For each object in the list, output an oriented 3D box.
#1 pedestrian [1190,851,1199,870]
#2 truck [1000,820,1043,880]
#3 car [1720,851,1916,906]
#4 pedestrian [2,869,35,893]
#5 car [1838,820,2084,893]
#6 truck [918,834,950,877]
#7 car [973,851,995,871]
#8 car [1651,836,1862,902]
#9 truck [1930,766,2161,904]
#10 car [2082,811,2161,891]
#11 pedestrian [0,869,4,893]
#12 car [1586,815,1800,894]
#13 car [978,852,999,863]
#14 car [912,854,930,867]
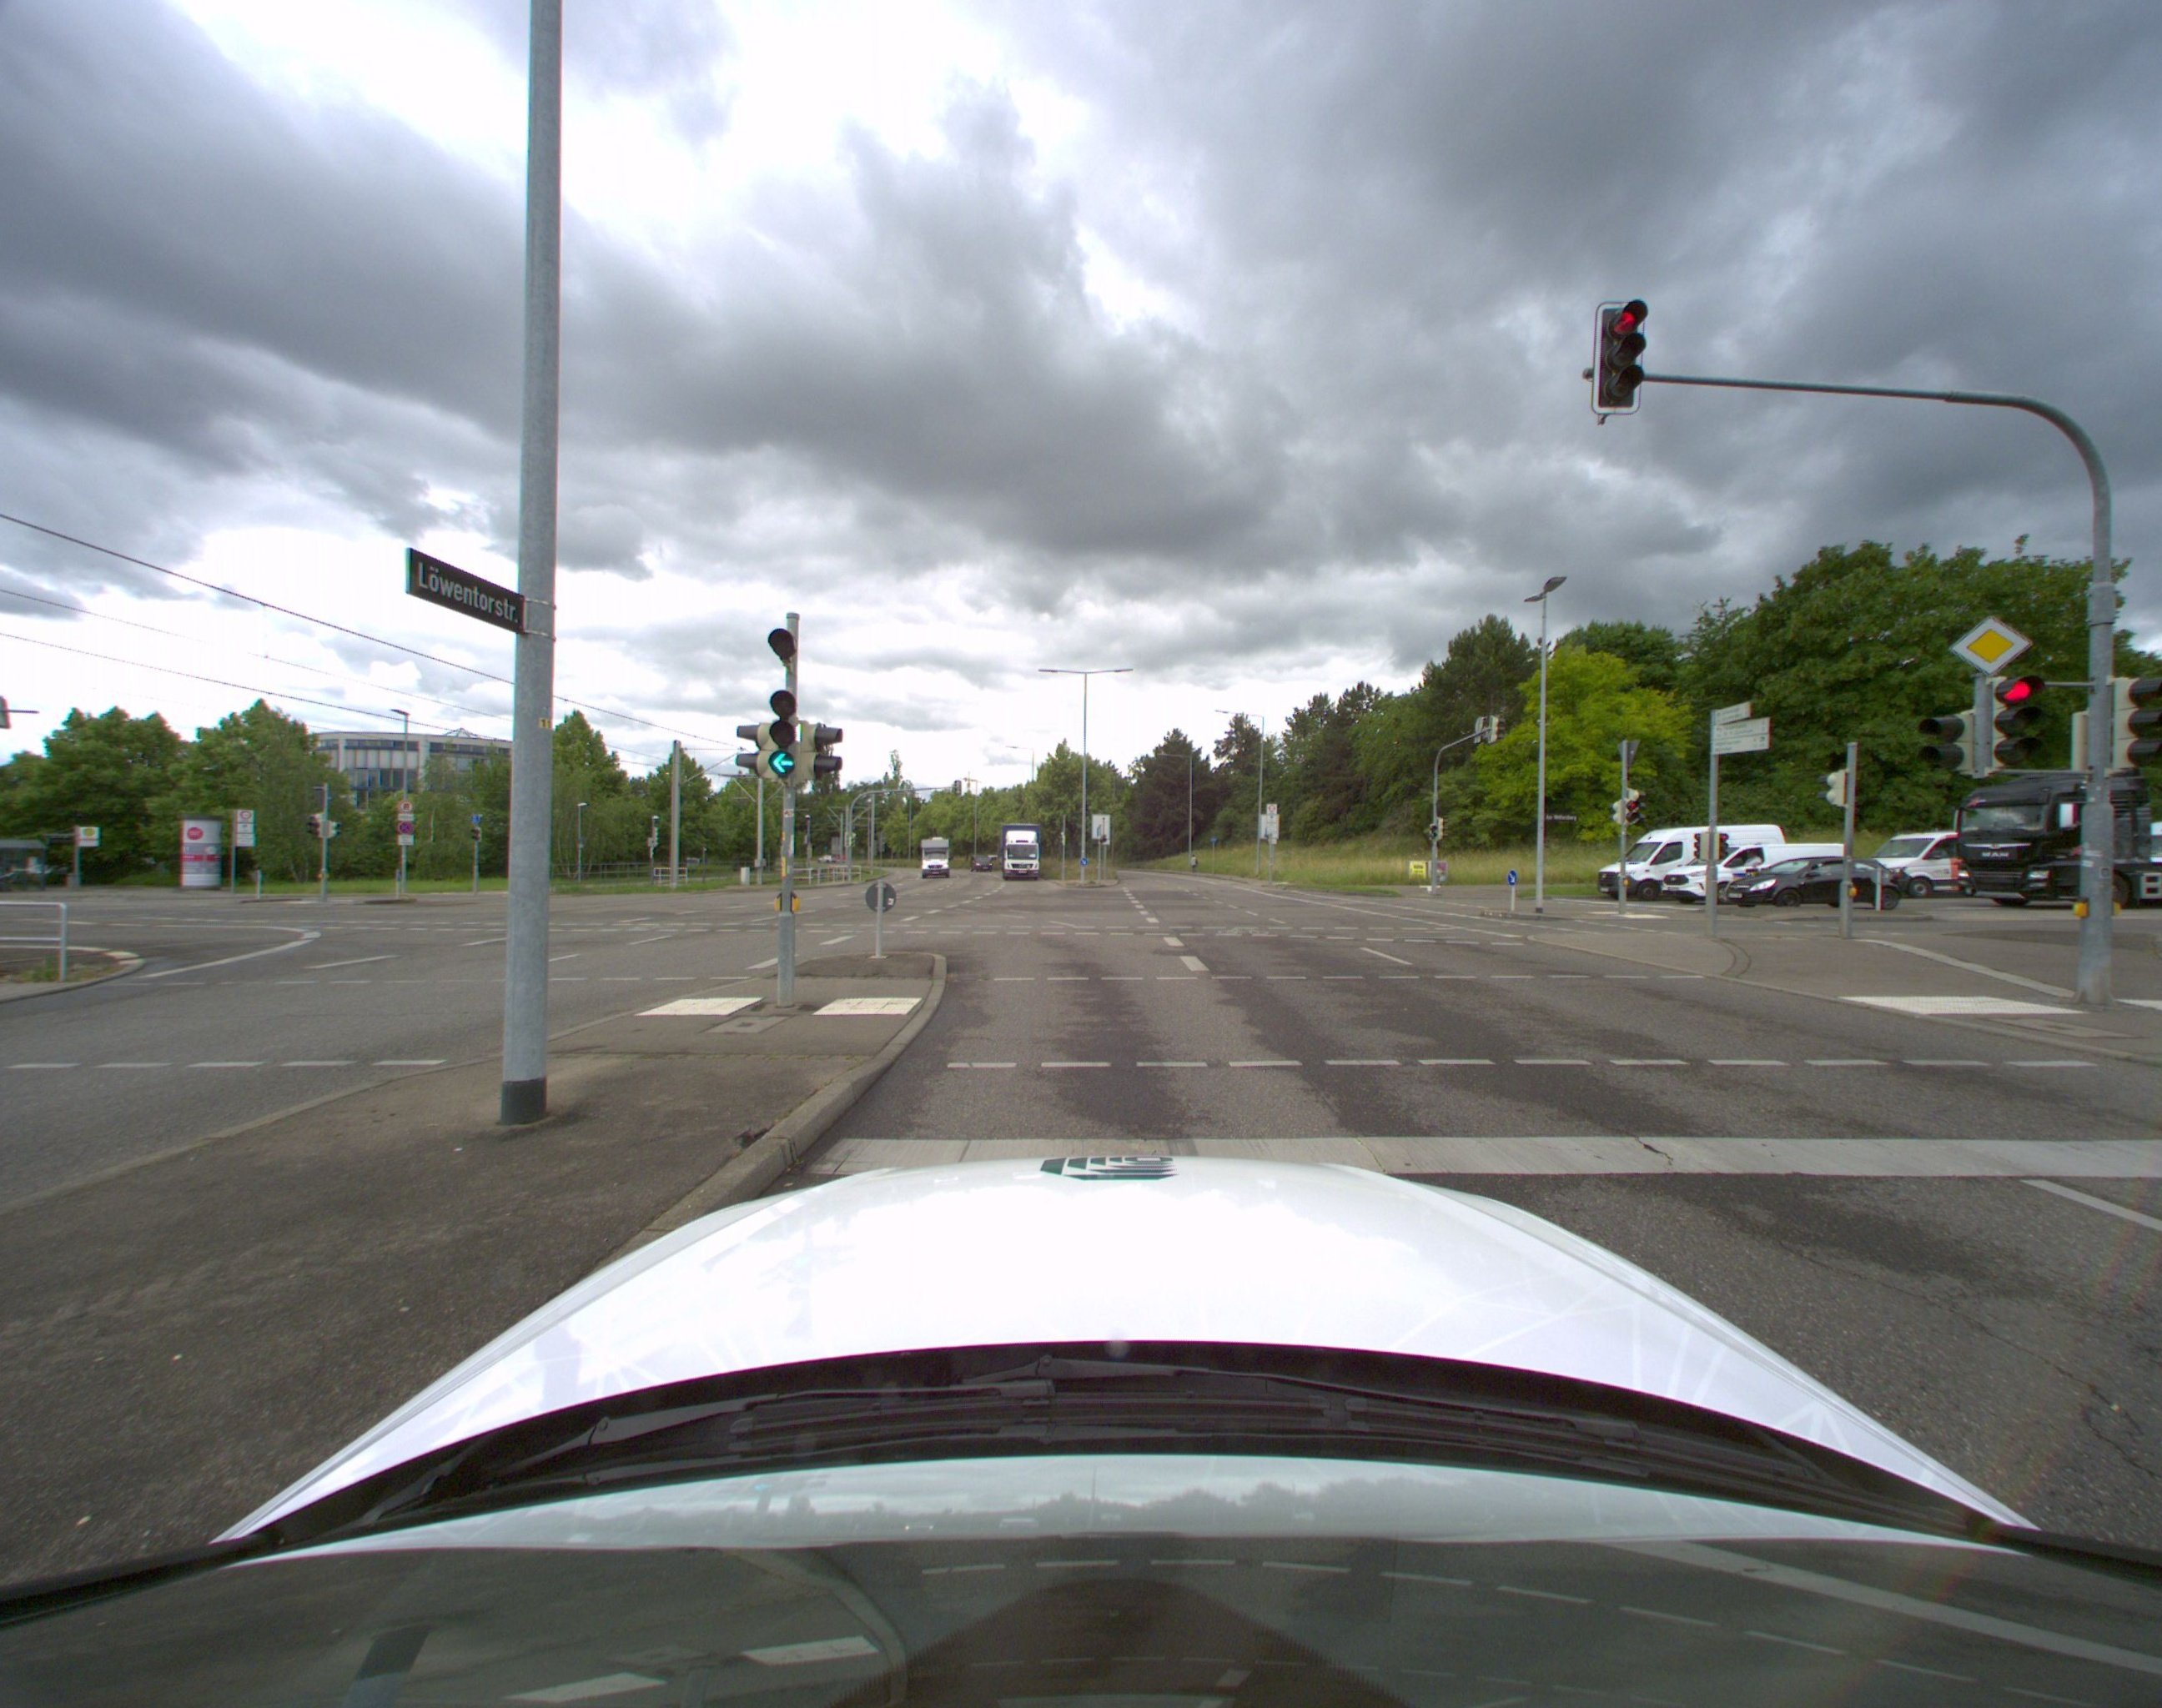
[{"bbox_3d":[10.252,0.593,73.777,0.736,1.717,0.625,0,0,1],"label":"pedestrian"},{"bbox_3d":[-4.206,-0.261,56.686,2.774,3.804,8.373,0,0,-5],"label":"truck"},{"bbox_3d":[20.297,0.664,22.555,3.836,1.442,1.638,-1,0,4],"label":"car"},{"bbox_3d":[-56.253,1.422,43.119,0.774,1.252,0.769,-1,0,-27],"label":"pedestrian"},{"bbox_3d":[30.780,0.114,28.664,5.913,2.386,2.231,-1,-1,4],"label":"car"},{"bbox_3d":[-11.190,0.117,62.290,2.105,3.010,6.252,-4,0,-10],"label":"truck"},{"bbox_3d":[-10.528,0.723,88.041,1.994,2.013,4.591,0,0,-11],"label":"car"},{"bbox_3d":[21.629,0.491,26.251,4.952,1.991,2.121,-1,-2,2],"label":"car"},{"bbox_3d":[28.011,-0.484,22.407,5.915,3.518,3.077,-1,-1,3],"label":"truck"},{"bbox_3d":[39.821,-0.123,28.433,6.635,2.720,2.230,-1,-1,3],"label":"car"},{"bbox_3d":[-57.689,1.440,43.068,0.582,1.316,0.734,-1,0,17],"label":"pedestrian"},{"bbox_3d":[21.917,0.041,29.388,5.915,2.659,2.230,-1,-1,3],"label":"car"},{"bbox_3d":[-14.747,0.573,129.295,2.006,1.728,3.691,0,0,-31],"label":"car"},{"bbox_3d":[-23.273,0.920,118.252,2.001,1.783,3.972,0,0,-21],"label":"car"}]
